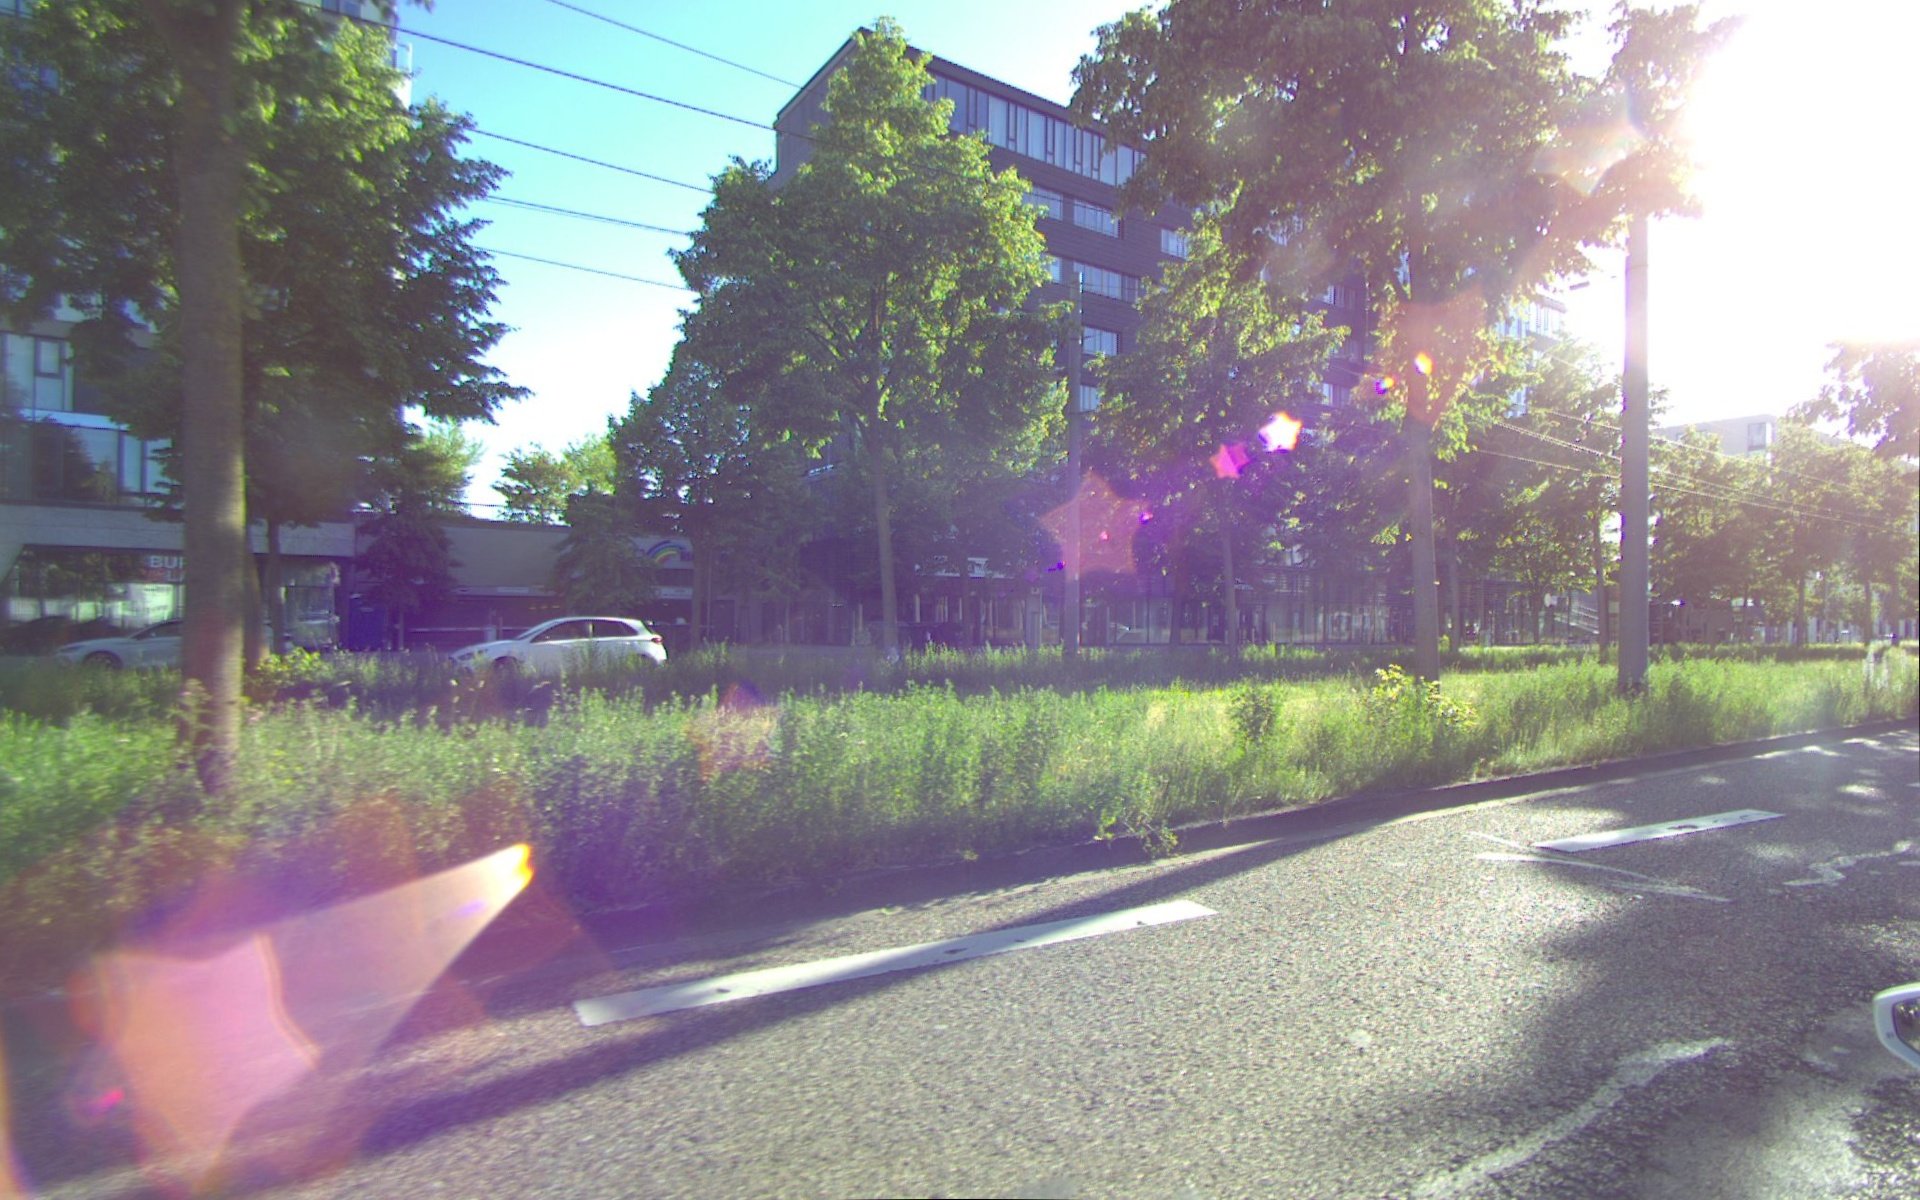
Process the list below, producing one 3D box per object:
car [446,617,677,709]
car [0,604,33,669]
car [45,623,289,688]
[{"bbox_3d":[-8.396,1.239,21.290,4.277,1.711,1.786,0,1,-35],"label":"car"},{"bbox_3d":[-23.292,0.769,21.720,4.495,1.439,1.706,1,-1,-33],"label":"car"},{"bbox_3d":[-19.046,1.290,24.422,4.497,1.439,1.705,1,-1,-34],"label":"car"}]
